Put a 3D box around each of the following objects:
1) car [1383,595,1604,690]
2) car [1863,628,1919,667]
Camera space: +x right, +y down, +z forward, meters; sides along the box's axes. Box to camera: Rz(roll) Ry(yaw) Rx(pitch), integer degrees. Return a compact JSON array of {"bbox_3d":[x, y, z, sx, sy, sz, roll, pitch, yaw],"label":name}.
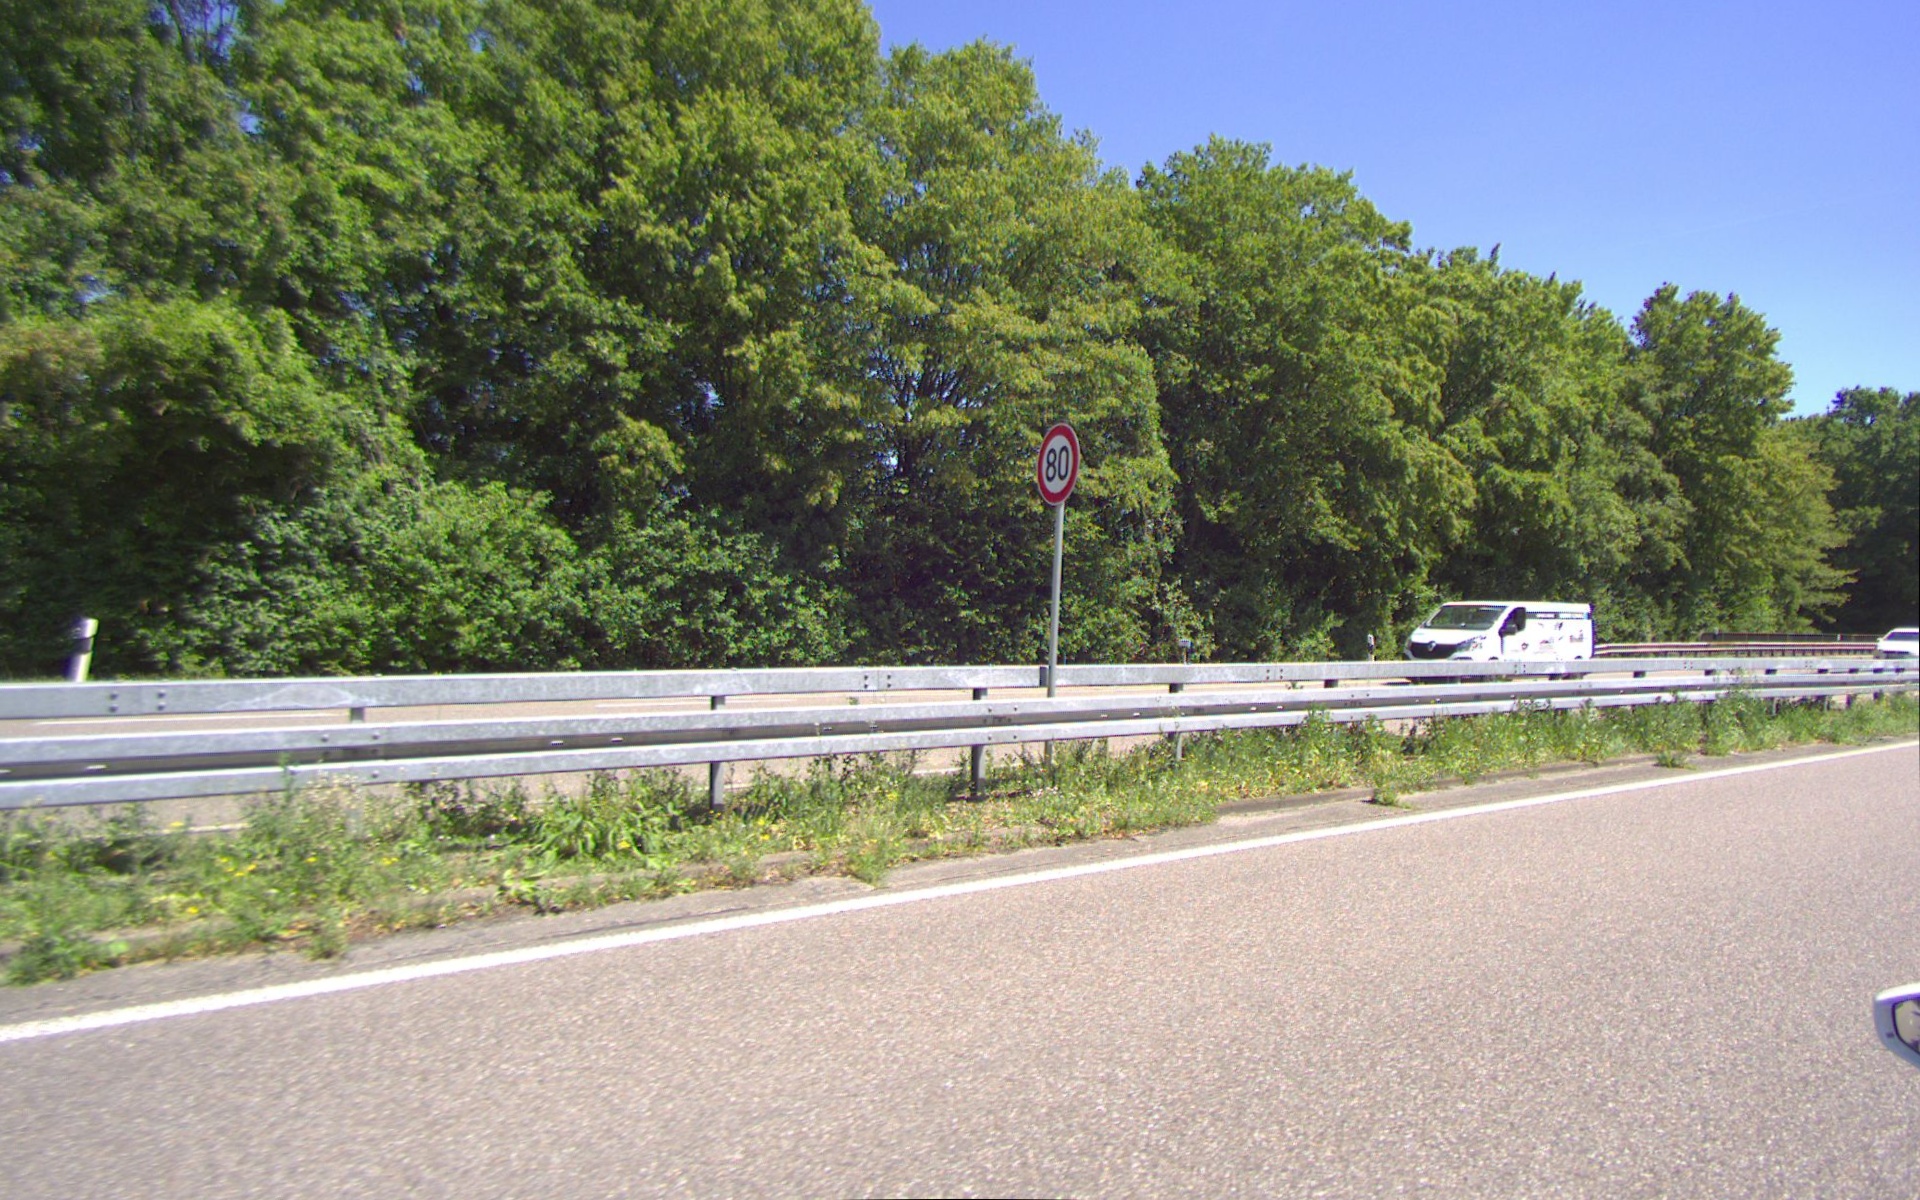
[{"bbox_3d":[12.439,0.951,23.298,5.576,1.977,1.979,2,-1,-32],"label":"car"},{"bbox_3d":[38.787,1.933,41.182,4.174,1.466,1.641,2,-1,-33],"label":"car"}]
